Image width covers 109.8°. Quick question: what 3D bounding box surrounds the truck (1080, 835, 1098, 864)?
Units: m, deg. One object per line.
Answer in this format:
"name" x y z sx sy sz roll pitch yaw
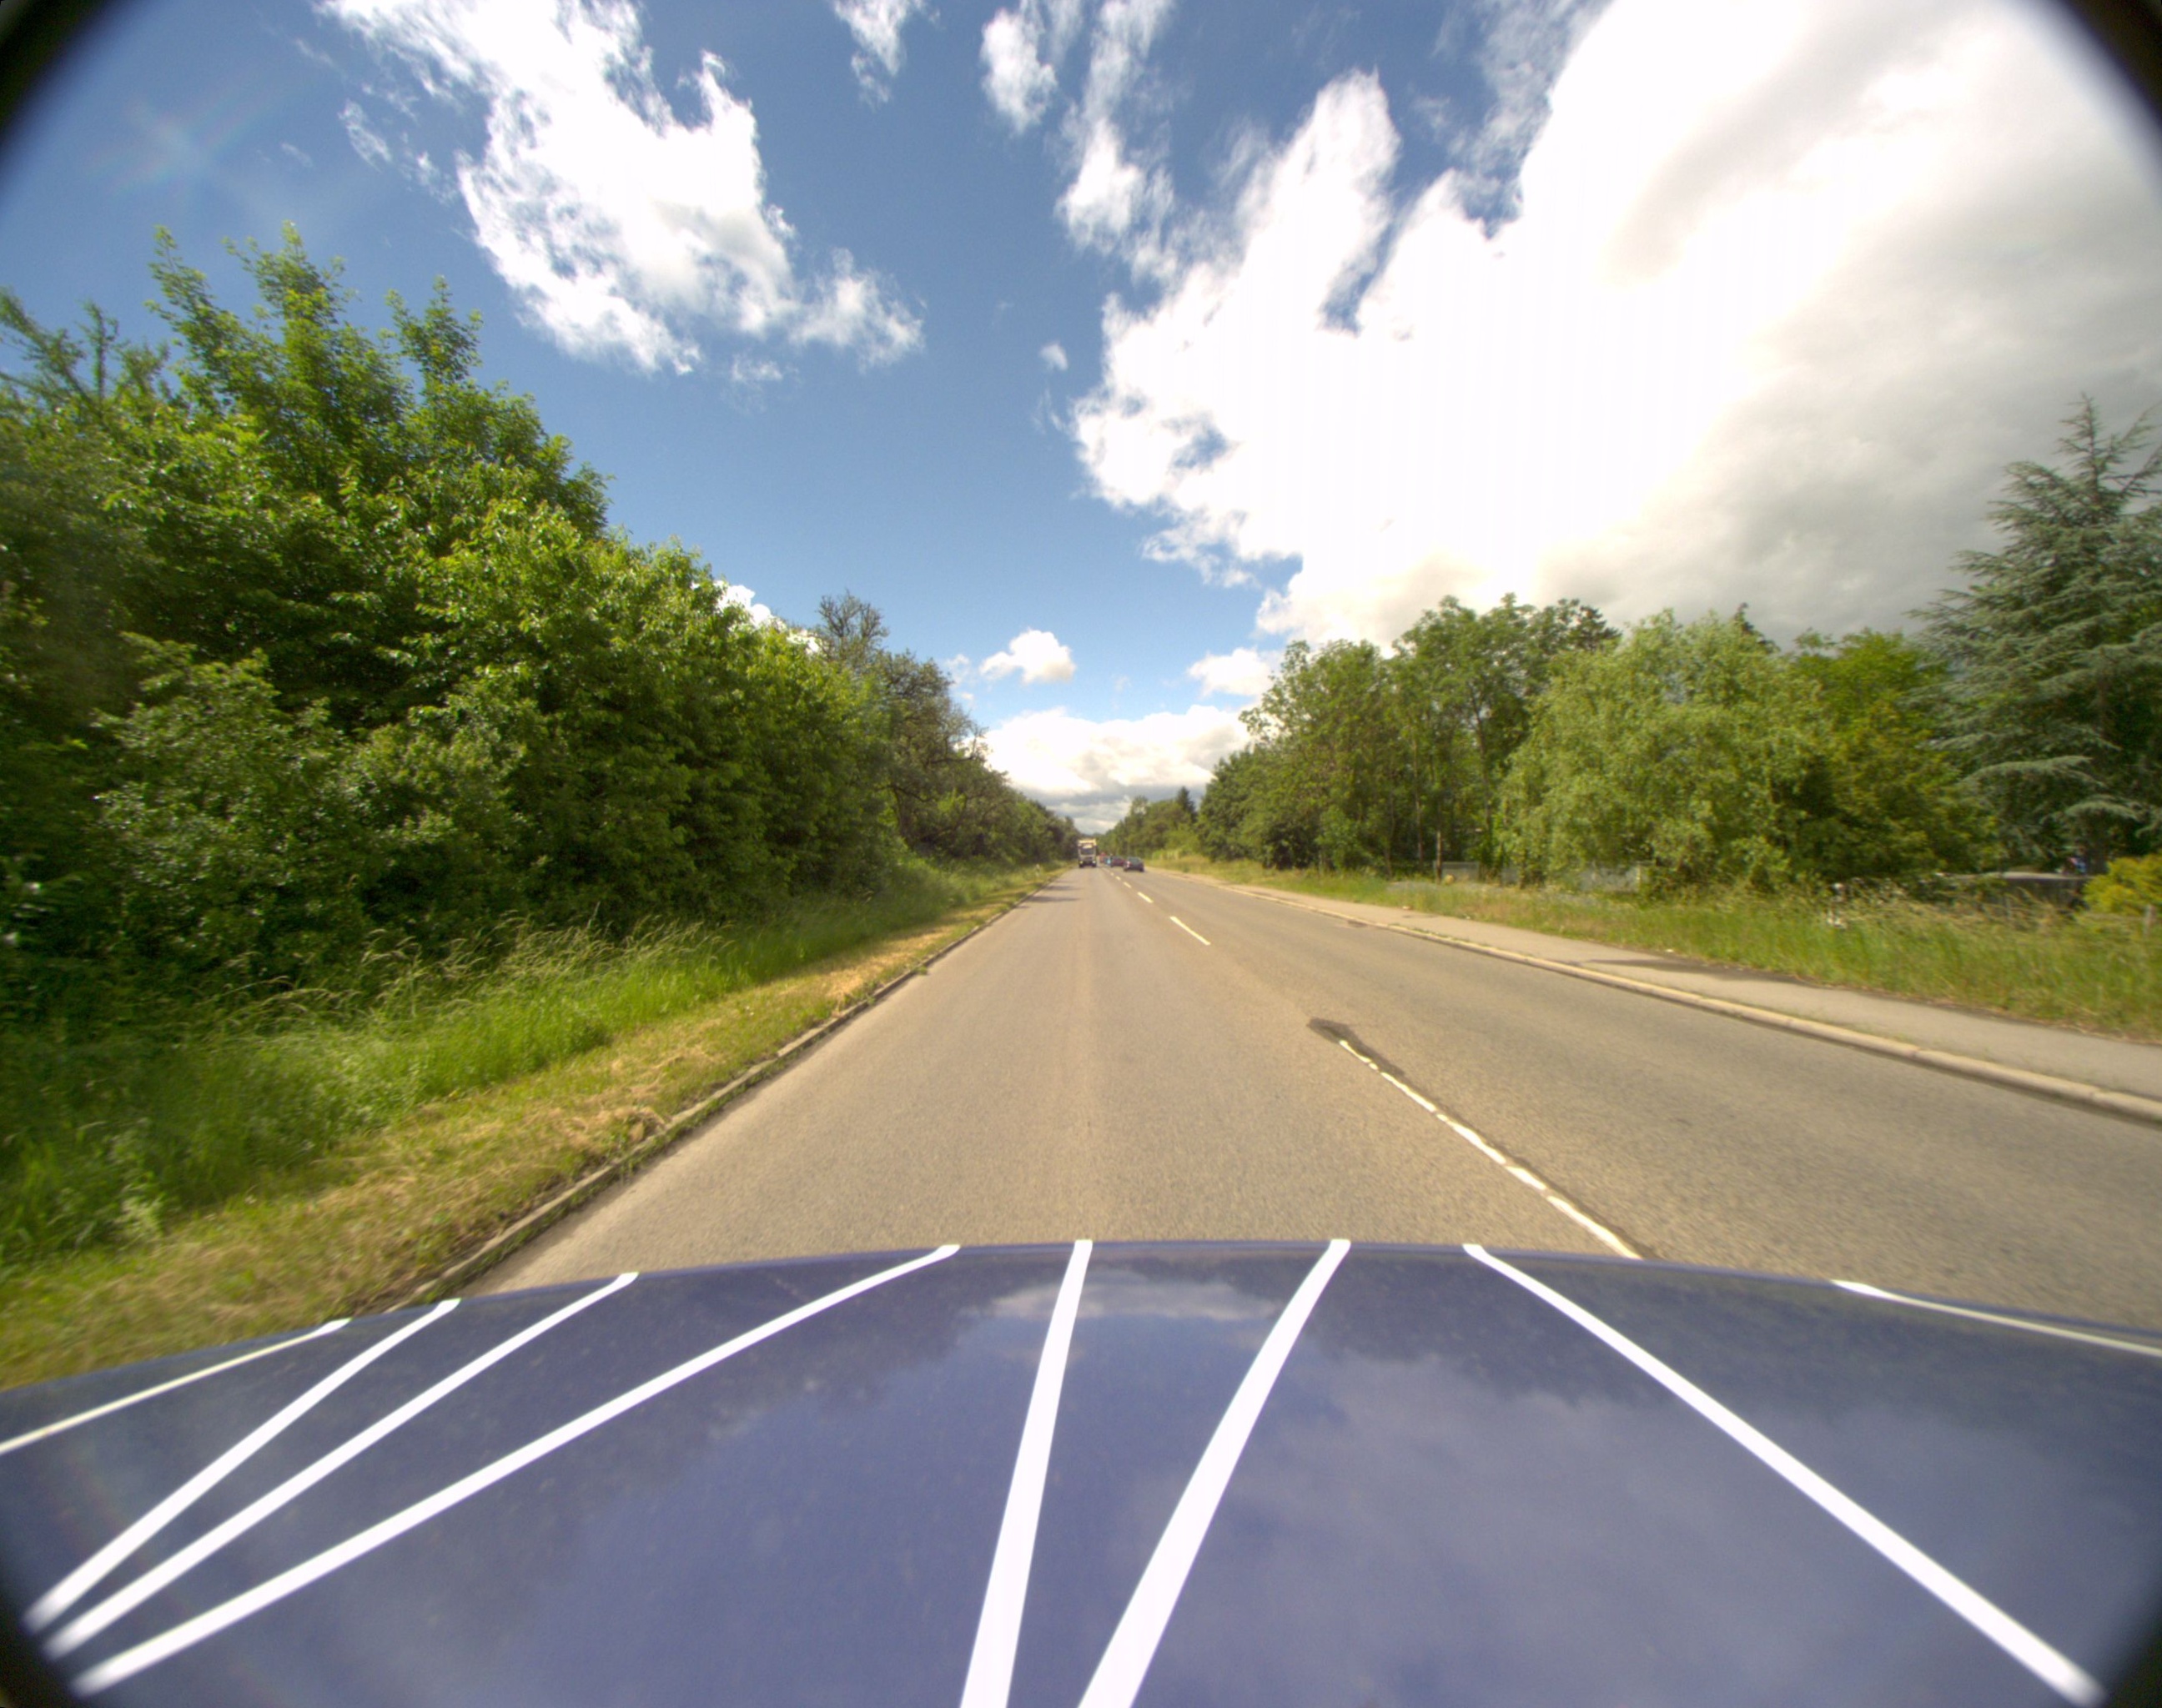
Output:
"truck" 1.129 -0.619 108.246 2.306 3.789 8.183 -3 0 0

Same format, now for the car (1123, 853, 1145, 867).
"car" 5.193 0.613 74.780 1.789 1.326 4.622 1 0 -1

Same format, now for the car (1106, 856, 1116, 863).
"car" 5.984 1.119 151.344 1.789 1.438 4.452 1 0 -1

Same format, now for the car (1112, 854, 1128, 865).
"car" 5.388 0.805 105.808 1.889 1.483 4.717 1 0 -1

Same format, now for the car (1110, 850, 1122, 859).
"car" 6.118 0.133 133.065 1.789 1.438 2.966 1 0 -1
